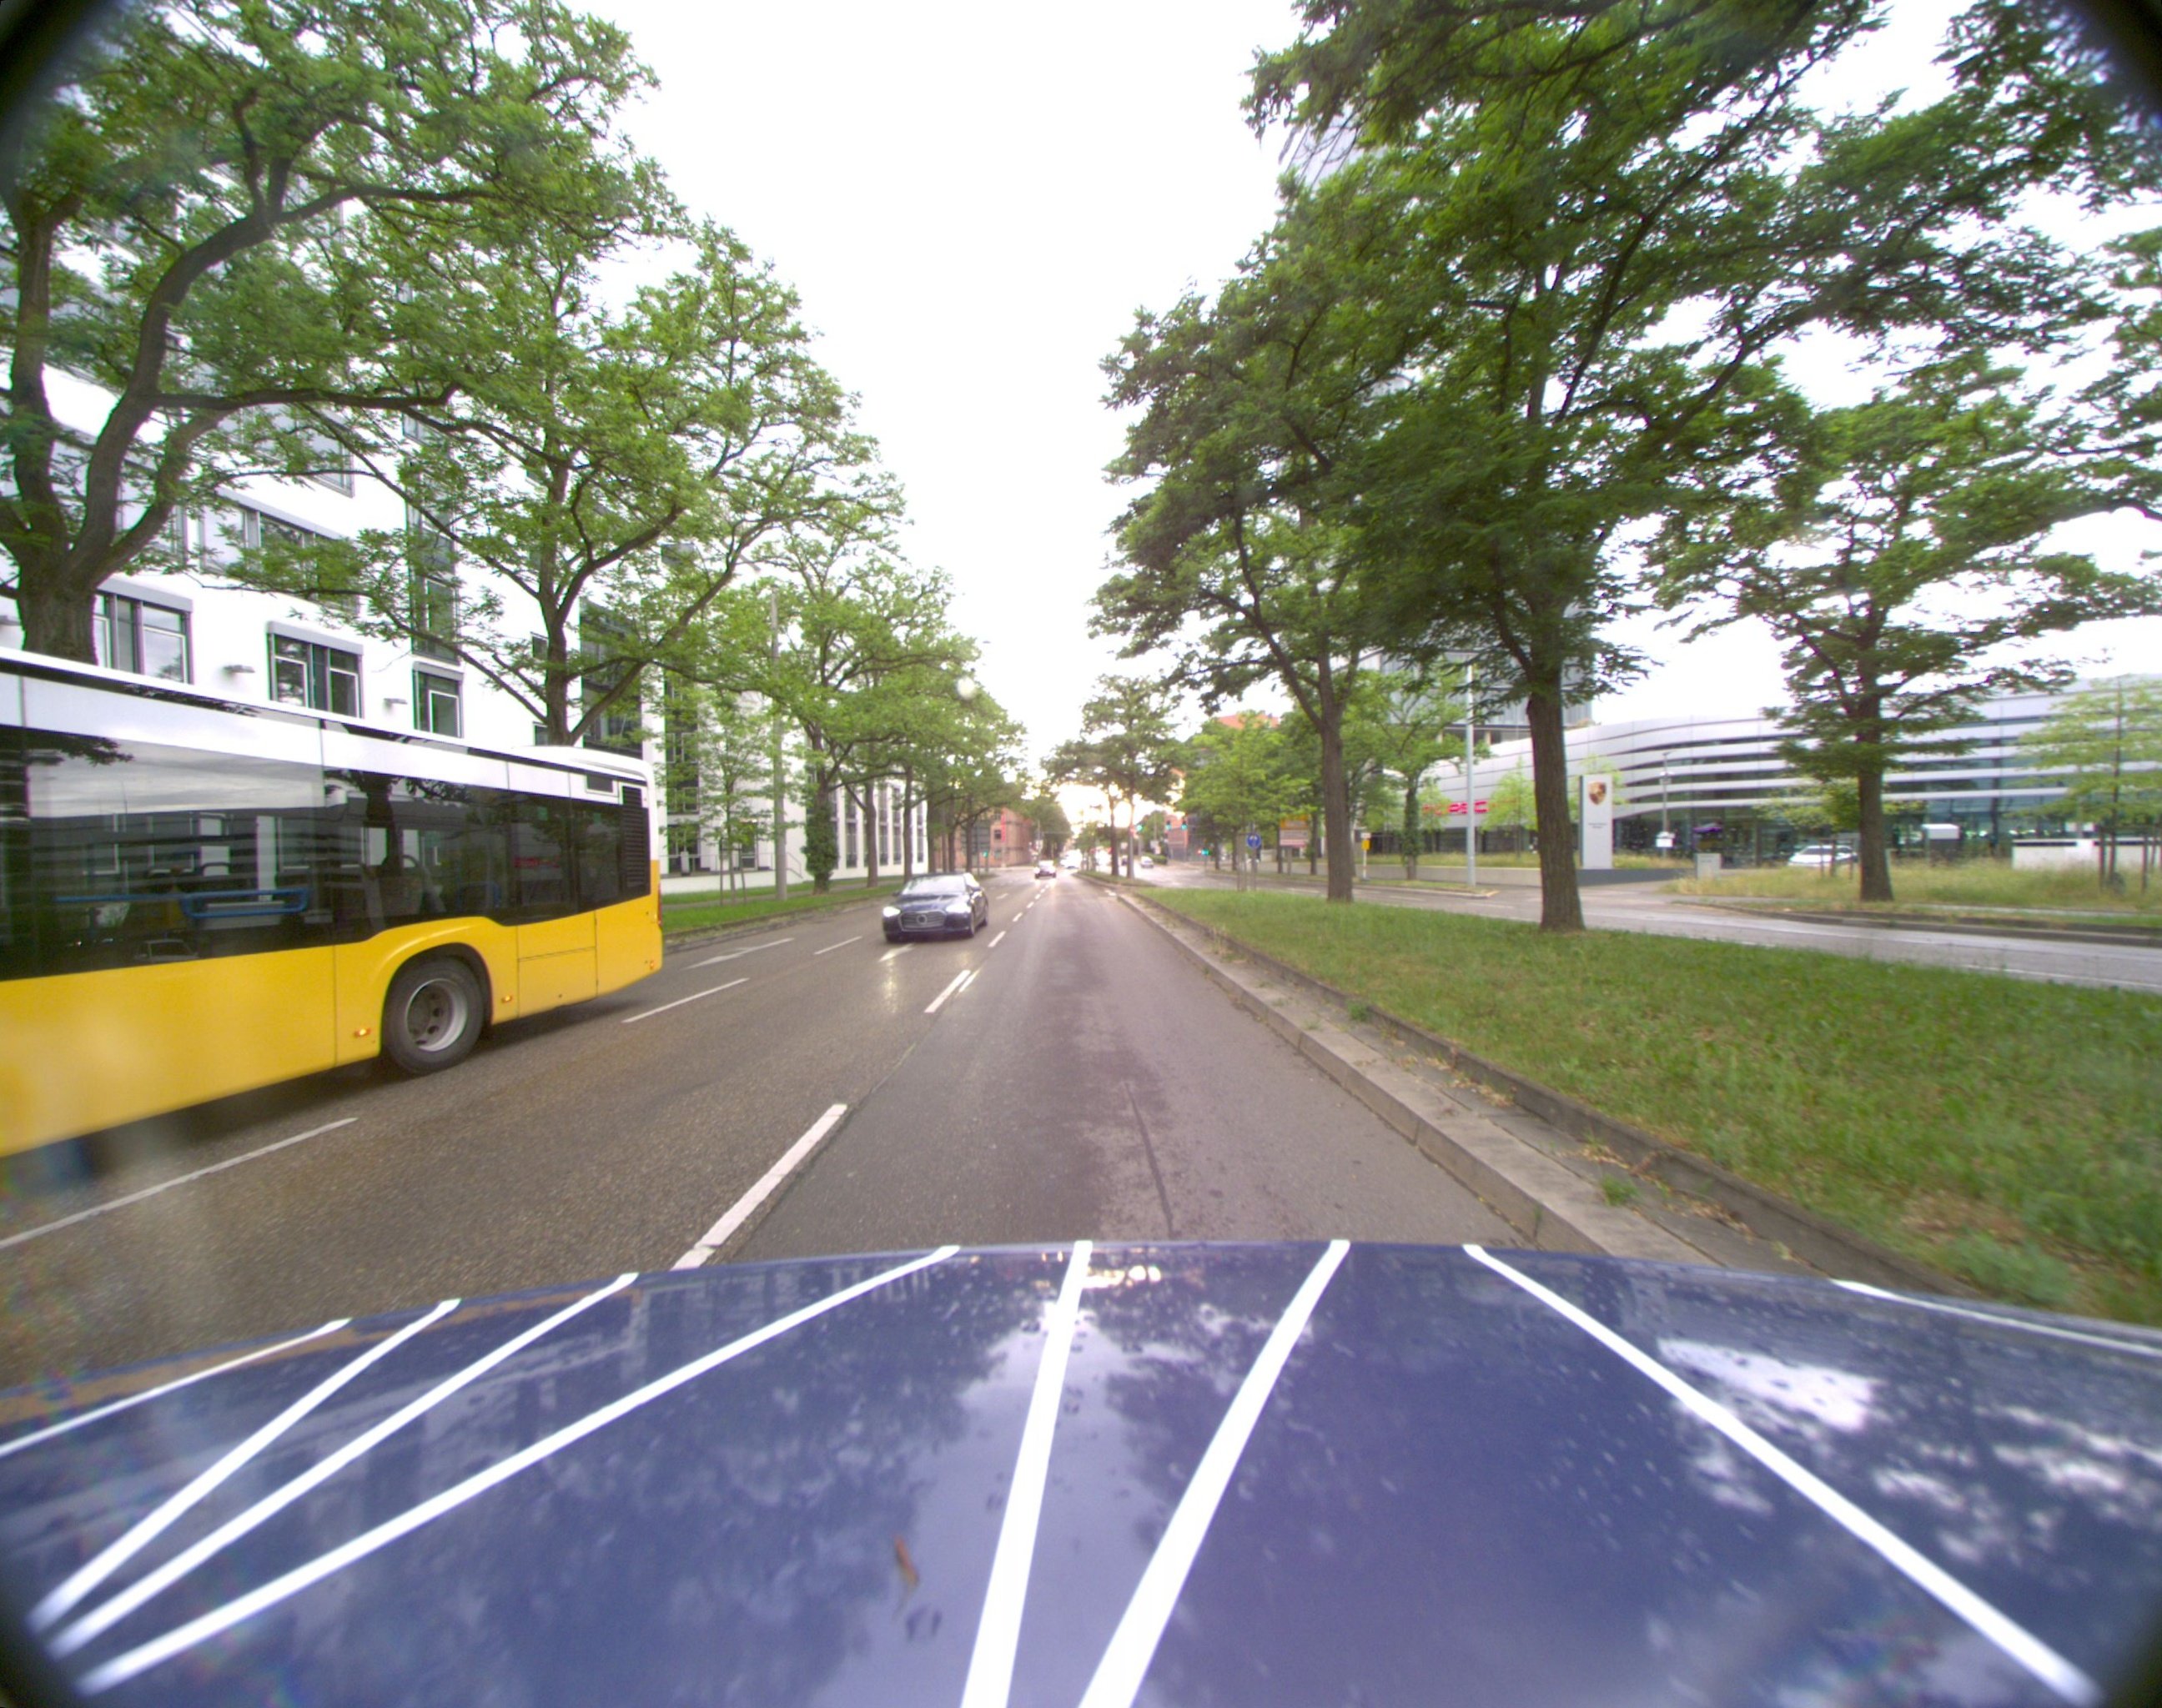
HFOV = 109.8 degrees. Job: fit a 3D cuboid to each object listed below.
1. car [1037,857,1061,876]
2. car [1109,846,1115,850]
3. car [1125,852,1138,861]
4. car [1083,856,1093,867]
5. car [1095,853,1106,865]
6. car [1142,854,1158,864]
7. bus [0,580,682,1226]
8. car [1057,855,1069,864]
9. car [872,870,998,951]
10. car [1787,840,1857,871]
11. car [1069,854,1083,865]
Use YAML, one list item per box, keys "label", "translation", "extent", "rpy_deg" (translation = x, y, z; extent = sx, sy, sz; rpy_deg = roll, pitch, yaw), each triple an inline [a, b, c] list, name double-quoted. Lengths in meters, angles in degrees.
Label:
- label: "car"
  translation: [-2.675, 1.021, 64.742]
  extent: [1.625, 1.426, 3.551]
  rpy_deg: [-3, 1, 3]
- label: "car"
  translation: [10.241, -2.024, 251.106]
  extent: [1.783, 1.445, 3.998]
  rpy_deg: [-3, 1, -2]
- label: "car"
  translation: [8.735, 0.408, 131.681]
  extent: [1.846, 1.581, 4.172]
  rpy_deg: [0, 1, -2]
- label: "car"
  translation: [1.400, 1.390, 145.701]
  extent: [1.931, 2.002, 4.000]
  rpy_deg: [-1, 0, 1]
- label: "car"
  translation: [3.357, 0.845, 131.389]
  extent: [1.998, 2.002, 4.000]
  rpy_deg: [-1, 0, 1]
- label: "car"
  translation: [10.627, 0.746, 117.742]
  extent: [1.894, 1.445, 3.998]
  rpy_deg: [-3, 1, -2]
- label: "bus"
  translation: [-6.606, 0.285, 3.630]
  extent: [2.734, 3.133, 12.146]
  rpy_deg: [-3, 0, 1]
- label: "car"
  translation: [-3.192, 1.024, 137.932]
  extent: [1.998, 1.576, 4.000]
  rpy_deg: [-1, 0, 1]
- label: "car"
  translation: [-3.102, 1.146, 17.060]
  extent: [1.878, 1.346, 4.331]
  rpy_deg: [-3, 1, 0]
- label: "car"
  translation: [39.092, 0.055, 40.048]
  extent: [4.006, 1.405, 1.774]
  rpy_deg: [-4, 1, -33]
- label: "car"
  translation: [-0.788, 0.822, 115.690]
  extent: [1.998, 1.707, 4.000]
  rpy_deg: [-1, 0, 1]
